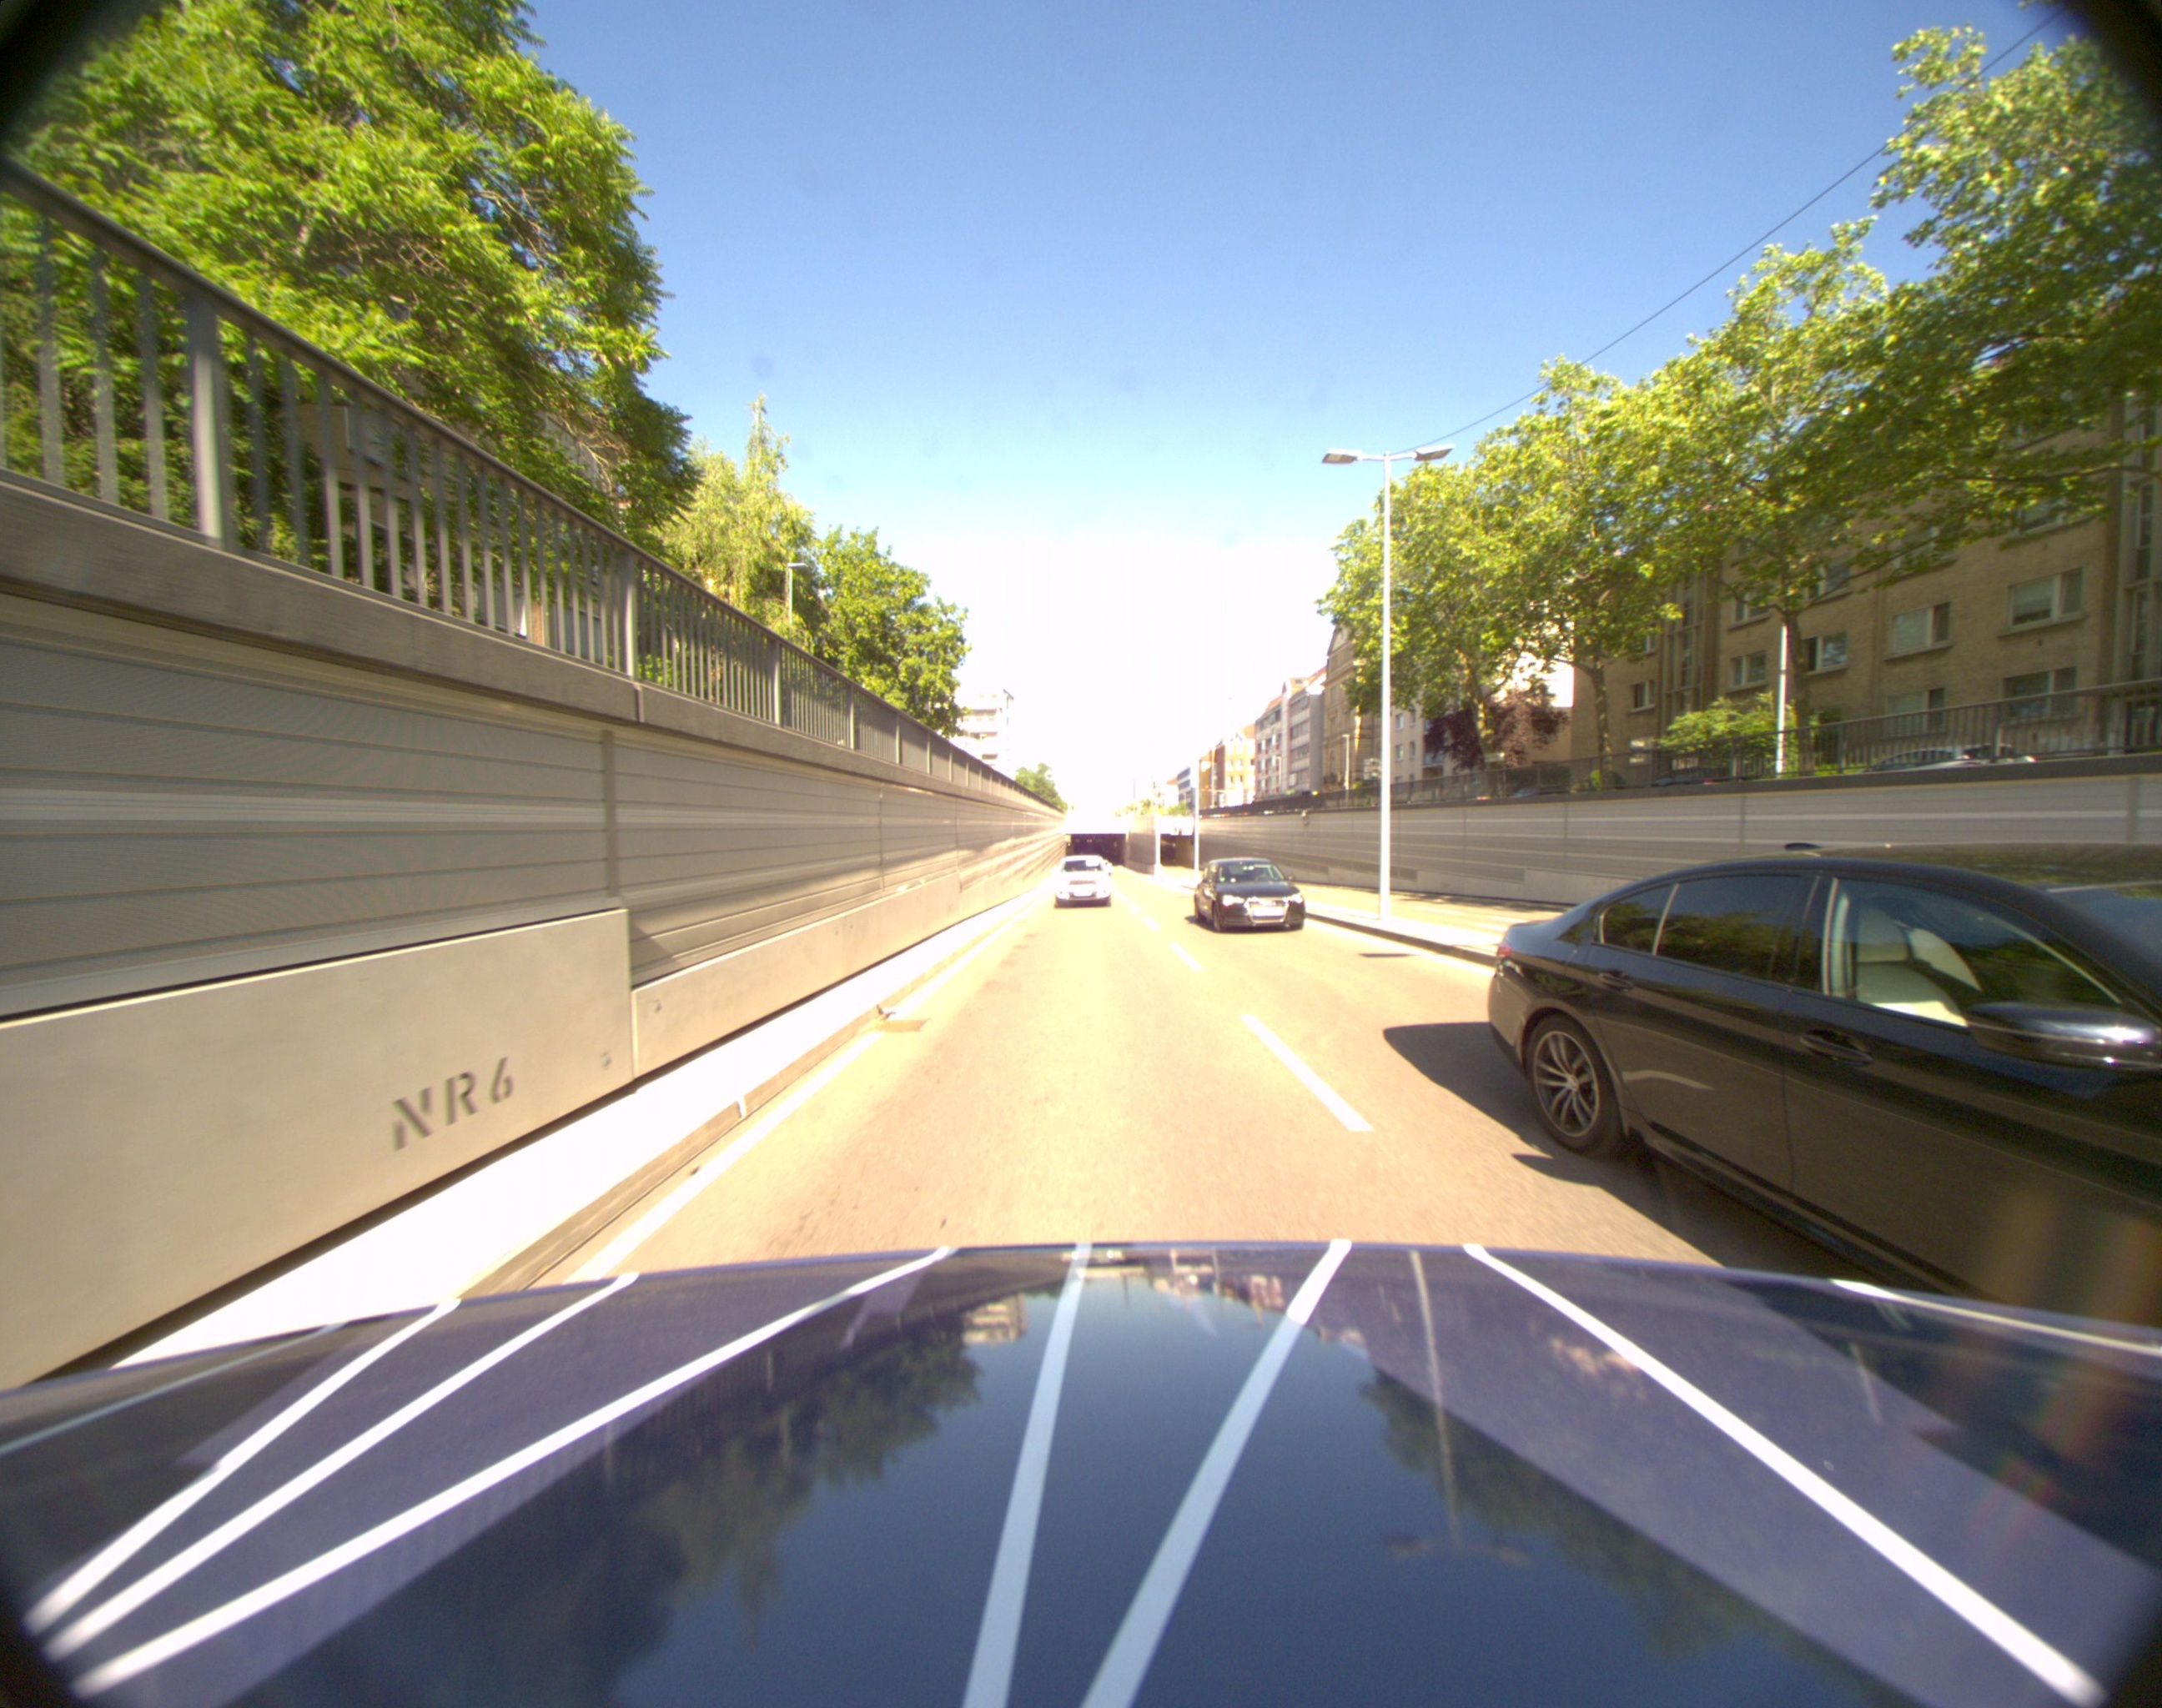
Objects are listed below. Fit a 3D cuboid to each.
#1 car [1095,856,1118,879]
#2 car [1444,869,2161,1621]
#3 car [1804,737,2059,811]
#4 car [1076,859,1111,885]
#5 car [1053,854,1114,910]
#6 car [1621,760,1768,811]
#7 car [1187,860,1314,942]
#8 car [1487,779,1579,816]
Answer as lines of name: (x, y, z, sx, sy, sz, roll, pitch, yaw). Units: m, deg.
car: (2.539, 1.350, 75.598, 1.999, 2.002, 3.998, -2, 2, -1)
car: (3.108, 0.835, 2.070, 1.813, 1.431, 5.002, -2, 0, 0)
car: (22.315, -2.024, 20.260, 1.926, 1.575, 4.302, -2, 2, -1)
car: (0.732, 1.058, 46.451, 1.998, 1.407, 4.000, -2, 1, 1)
car: (0.088, 0.873, 25.734, 1.855, 1.658, 3.970, -2, 1, 1)
car: (22.538, -2.454, 28.182, 1.926, 1.575, 4.302, -2, 2, -1)
car: (3.335, 0.872, 15.670, 1.700, 1.410, 3.888, -2, 0, 0)
car: (22.315, -2.751, 37.701, 1.926, 1.575, 4.302, -2, 2, -1)
